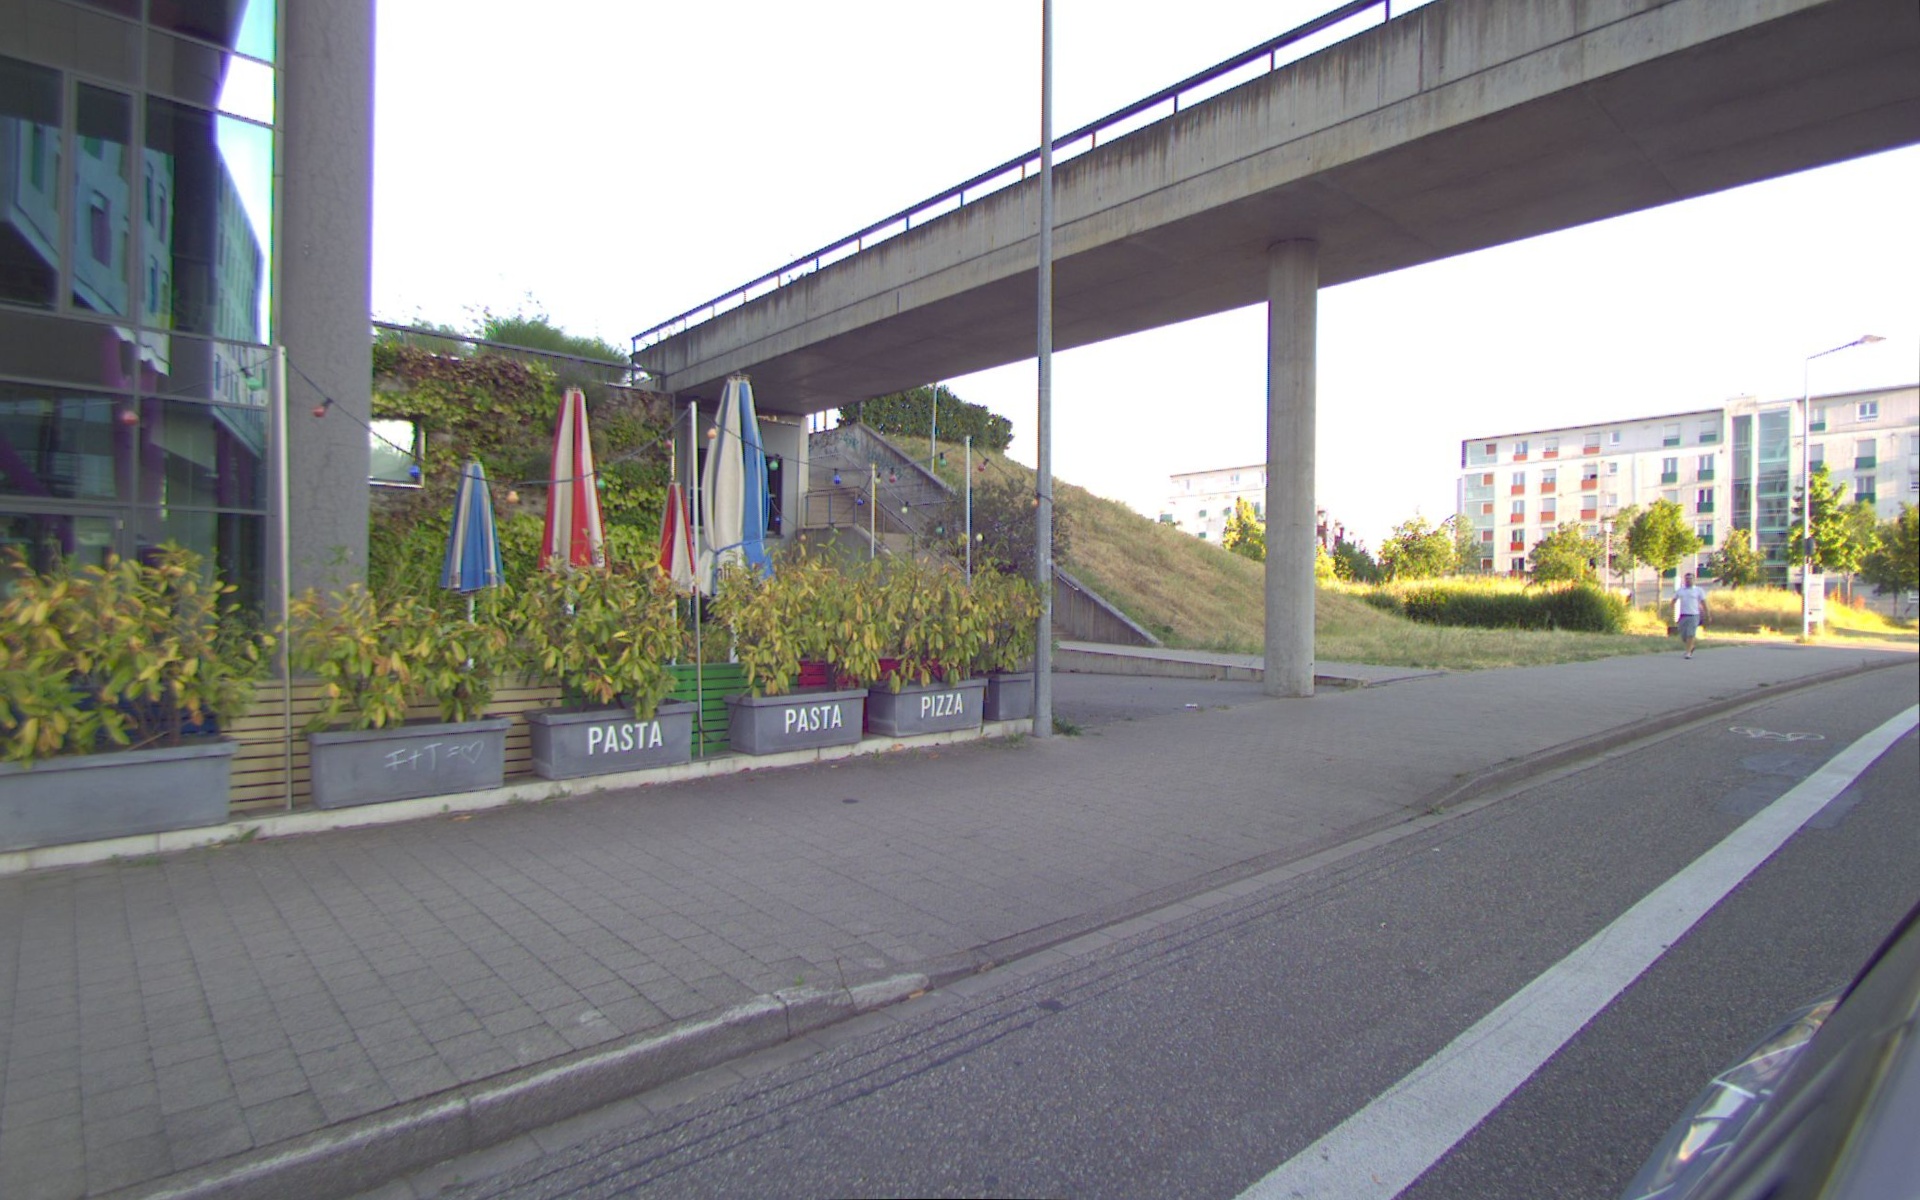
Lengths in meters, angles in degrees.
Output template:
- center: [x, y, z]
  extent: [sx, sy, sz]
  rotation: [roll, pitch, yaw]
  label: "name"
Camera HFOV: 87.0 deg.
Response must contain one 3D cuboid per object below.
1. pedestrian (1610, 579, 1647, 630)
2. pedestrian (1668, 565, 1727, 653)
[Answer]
- center: [22.052, 0.144, 33.372]
  extent: [0.844, 1.649, 0.737]
  rotation: [1, 2, -39]
  label: "pedestrian"
- center: [15.197, 0.176, 20.848]
  extent: [0.890, 1.745, 0.737]
  rotation: [1, 2, -40]
  label: "pedestrian"
